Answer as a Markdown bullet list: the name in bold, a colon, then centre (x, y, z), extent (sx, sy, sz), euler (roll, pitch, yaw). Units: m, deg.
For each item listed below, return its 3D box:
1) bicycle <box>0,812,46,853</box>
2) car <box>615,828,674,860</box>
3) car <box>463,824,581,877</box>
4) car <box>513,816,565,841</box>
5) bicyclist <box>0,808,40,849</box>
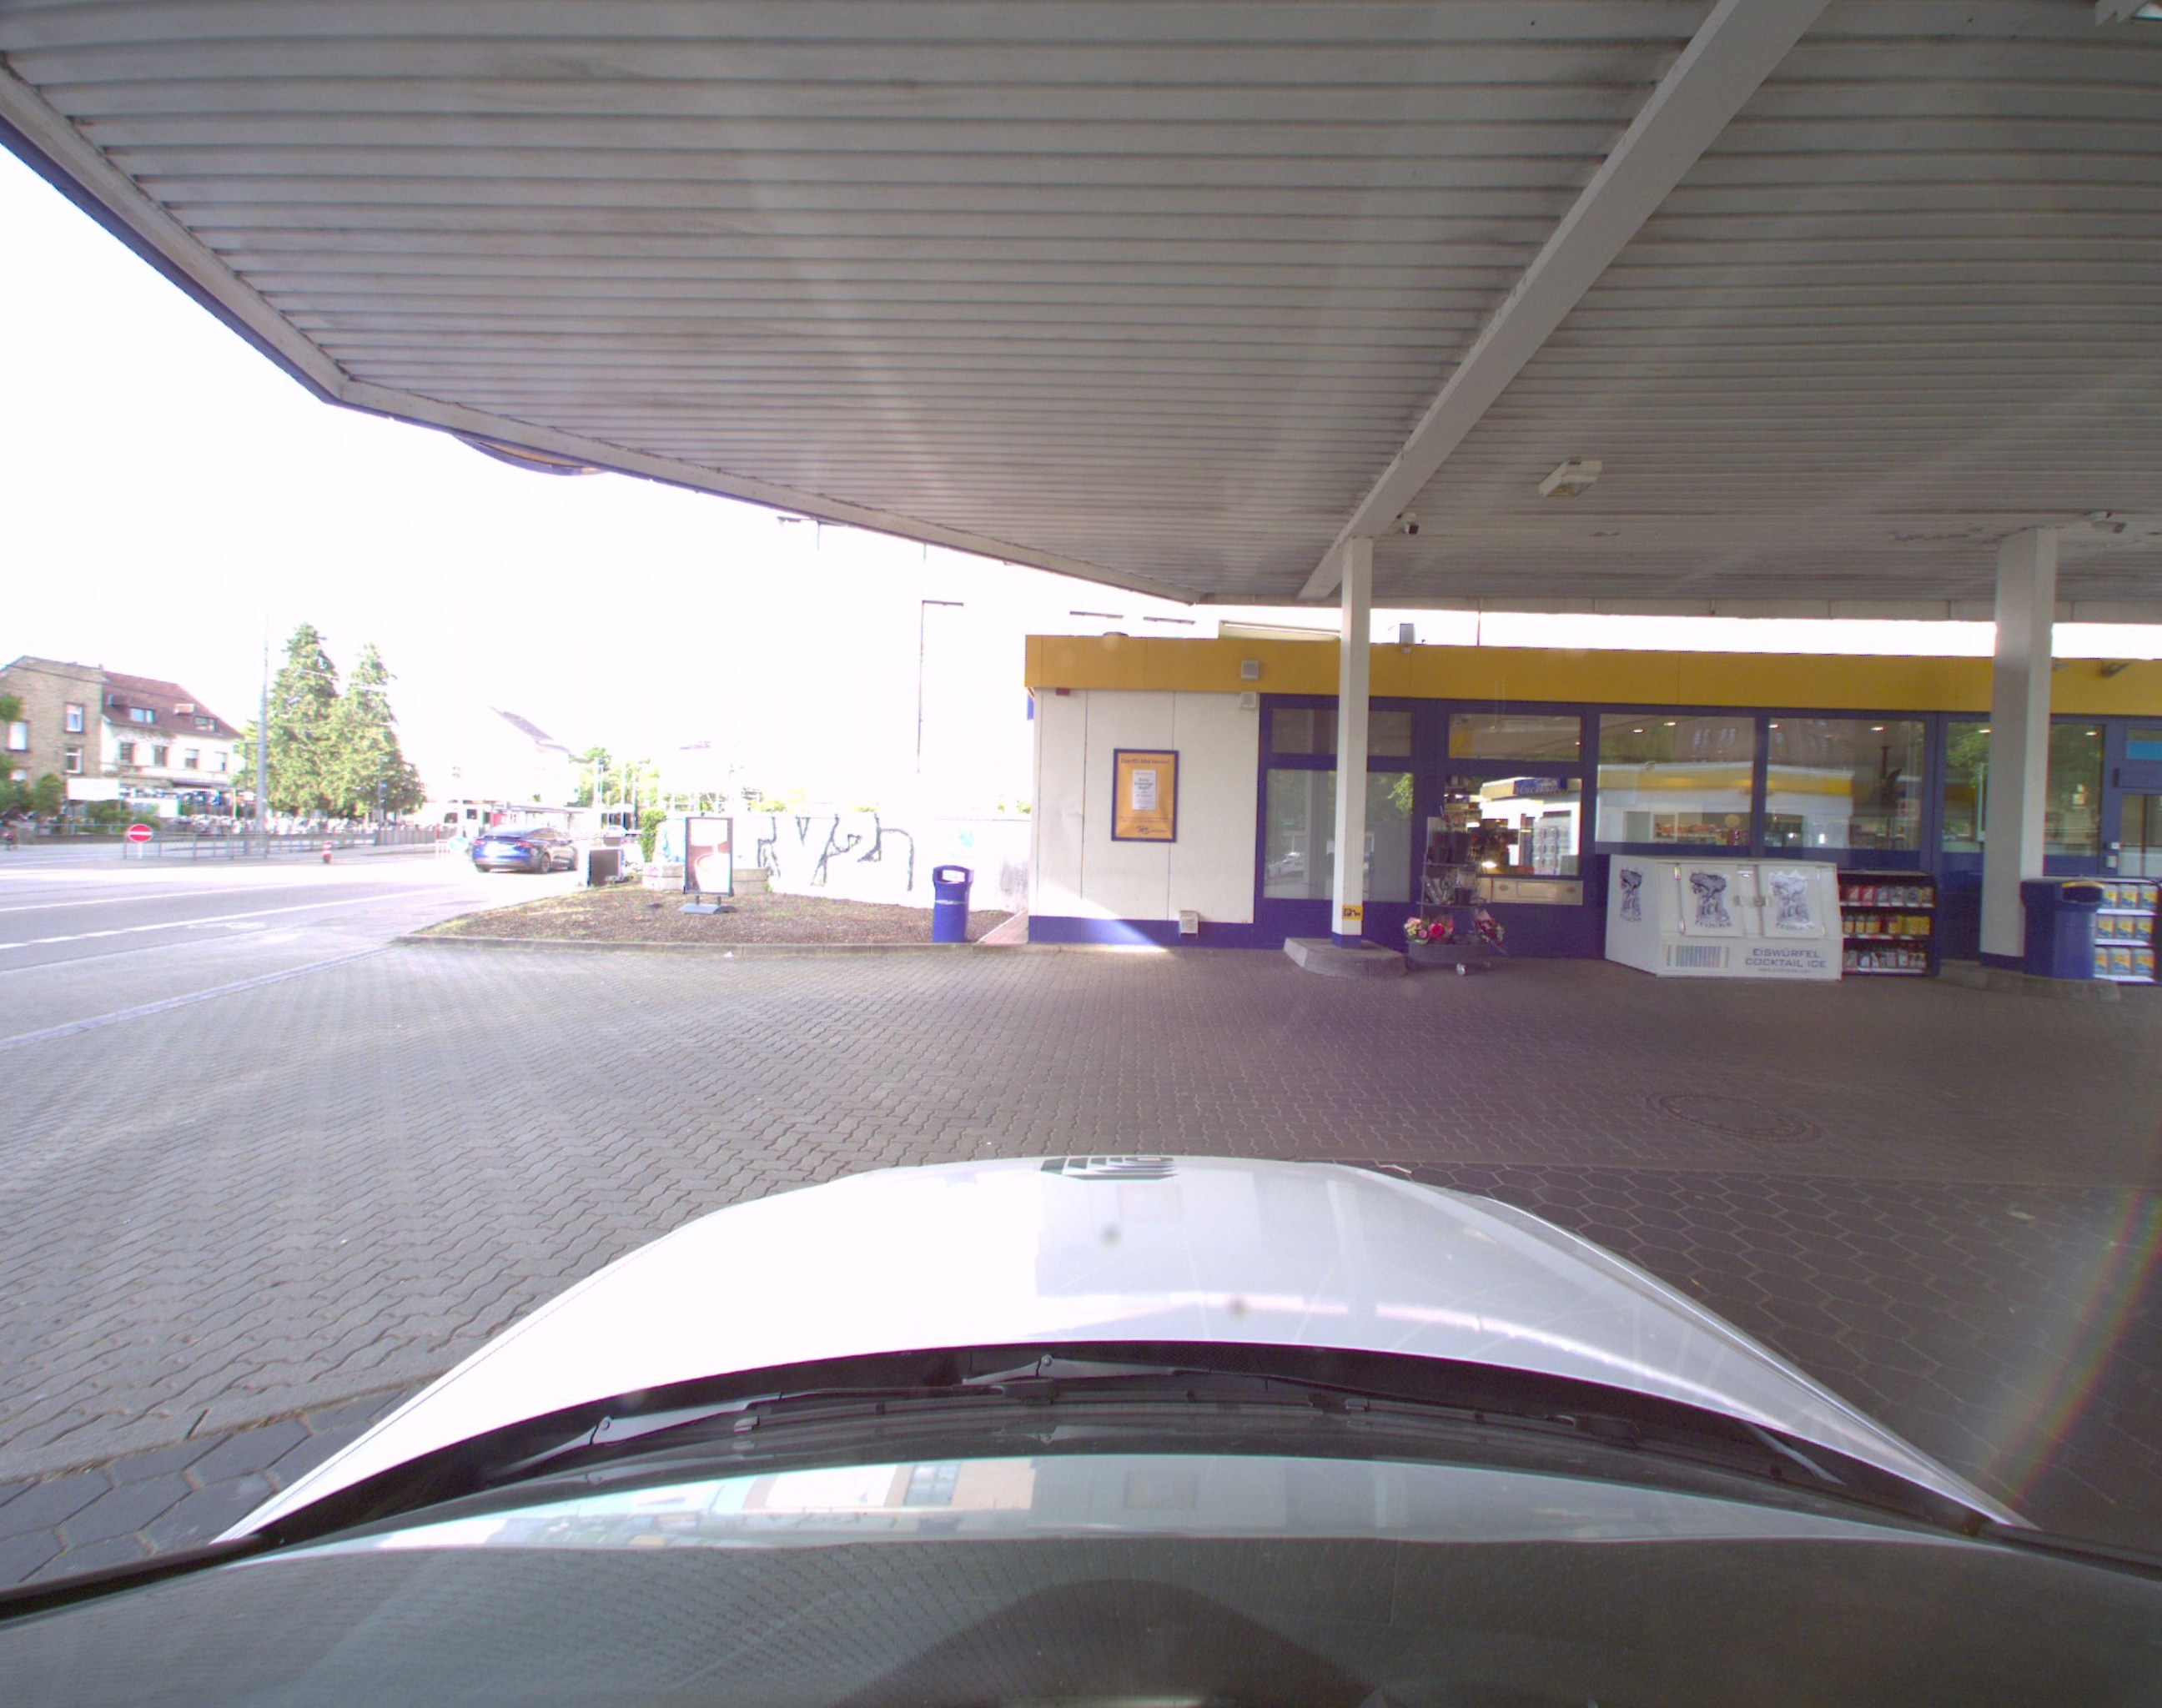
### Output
- **bicycle**: centre (-40.853, -0.845, 31.222), extent (0.791, 1.492, 1.971), euler (4, 0, -33)
- **car**: centre (-23.205, -0.534, 43.462), extent (1.767, 1.543, 4.111), euler (2, 0, -15)
- **car**: centre (-19.589, -0.153, 28.819), extent (1.767, 1.657, 4.828), euler (2, 0, -14)
- **car**: centre (-46.454, -2.184, 69.923), extent (1.995, 1.968, 4.870), euler (1, 1, -12)
- **bicyclist**: centre (-40.839, -0.991, 31.217), extent (0.791, 1.492, 1.085), euler (4, 0, -34)
